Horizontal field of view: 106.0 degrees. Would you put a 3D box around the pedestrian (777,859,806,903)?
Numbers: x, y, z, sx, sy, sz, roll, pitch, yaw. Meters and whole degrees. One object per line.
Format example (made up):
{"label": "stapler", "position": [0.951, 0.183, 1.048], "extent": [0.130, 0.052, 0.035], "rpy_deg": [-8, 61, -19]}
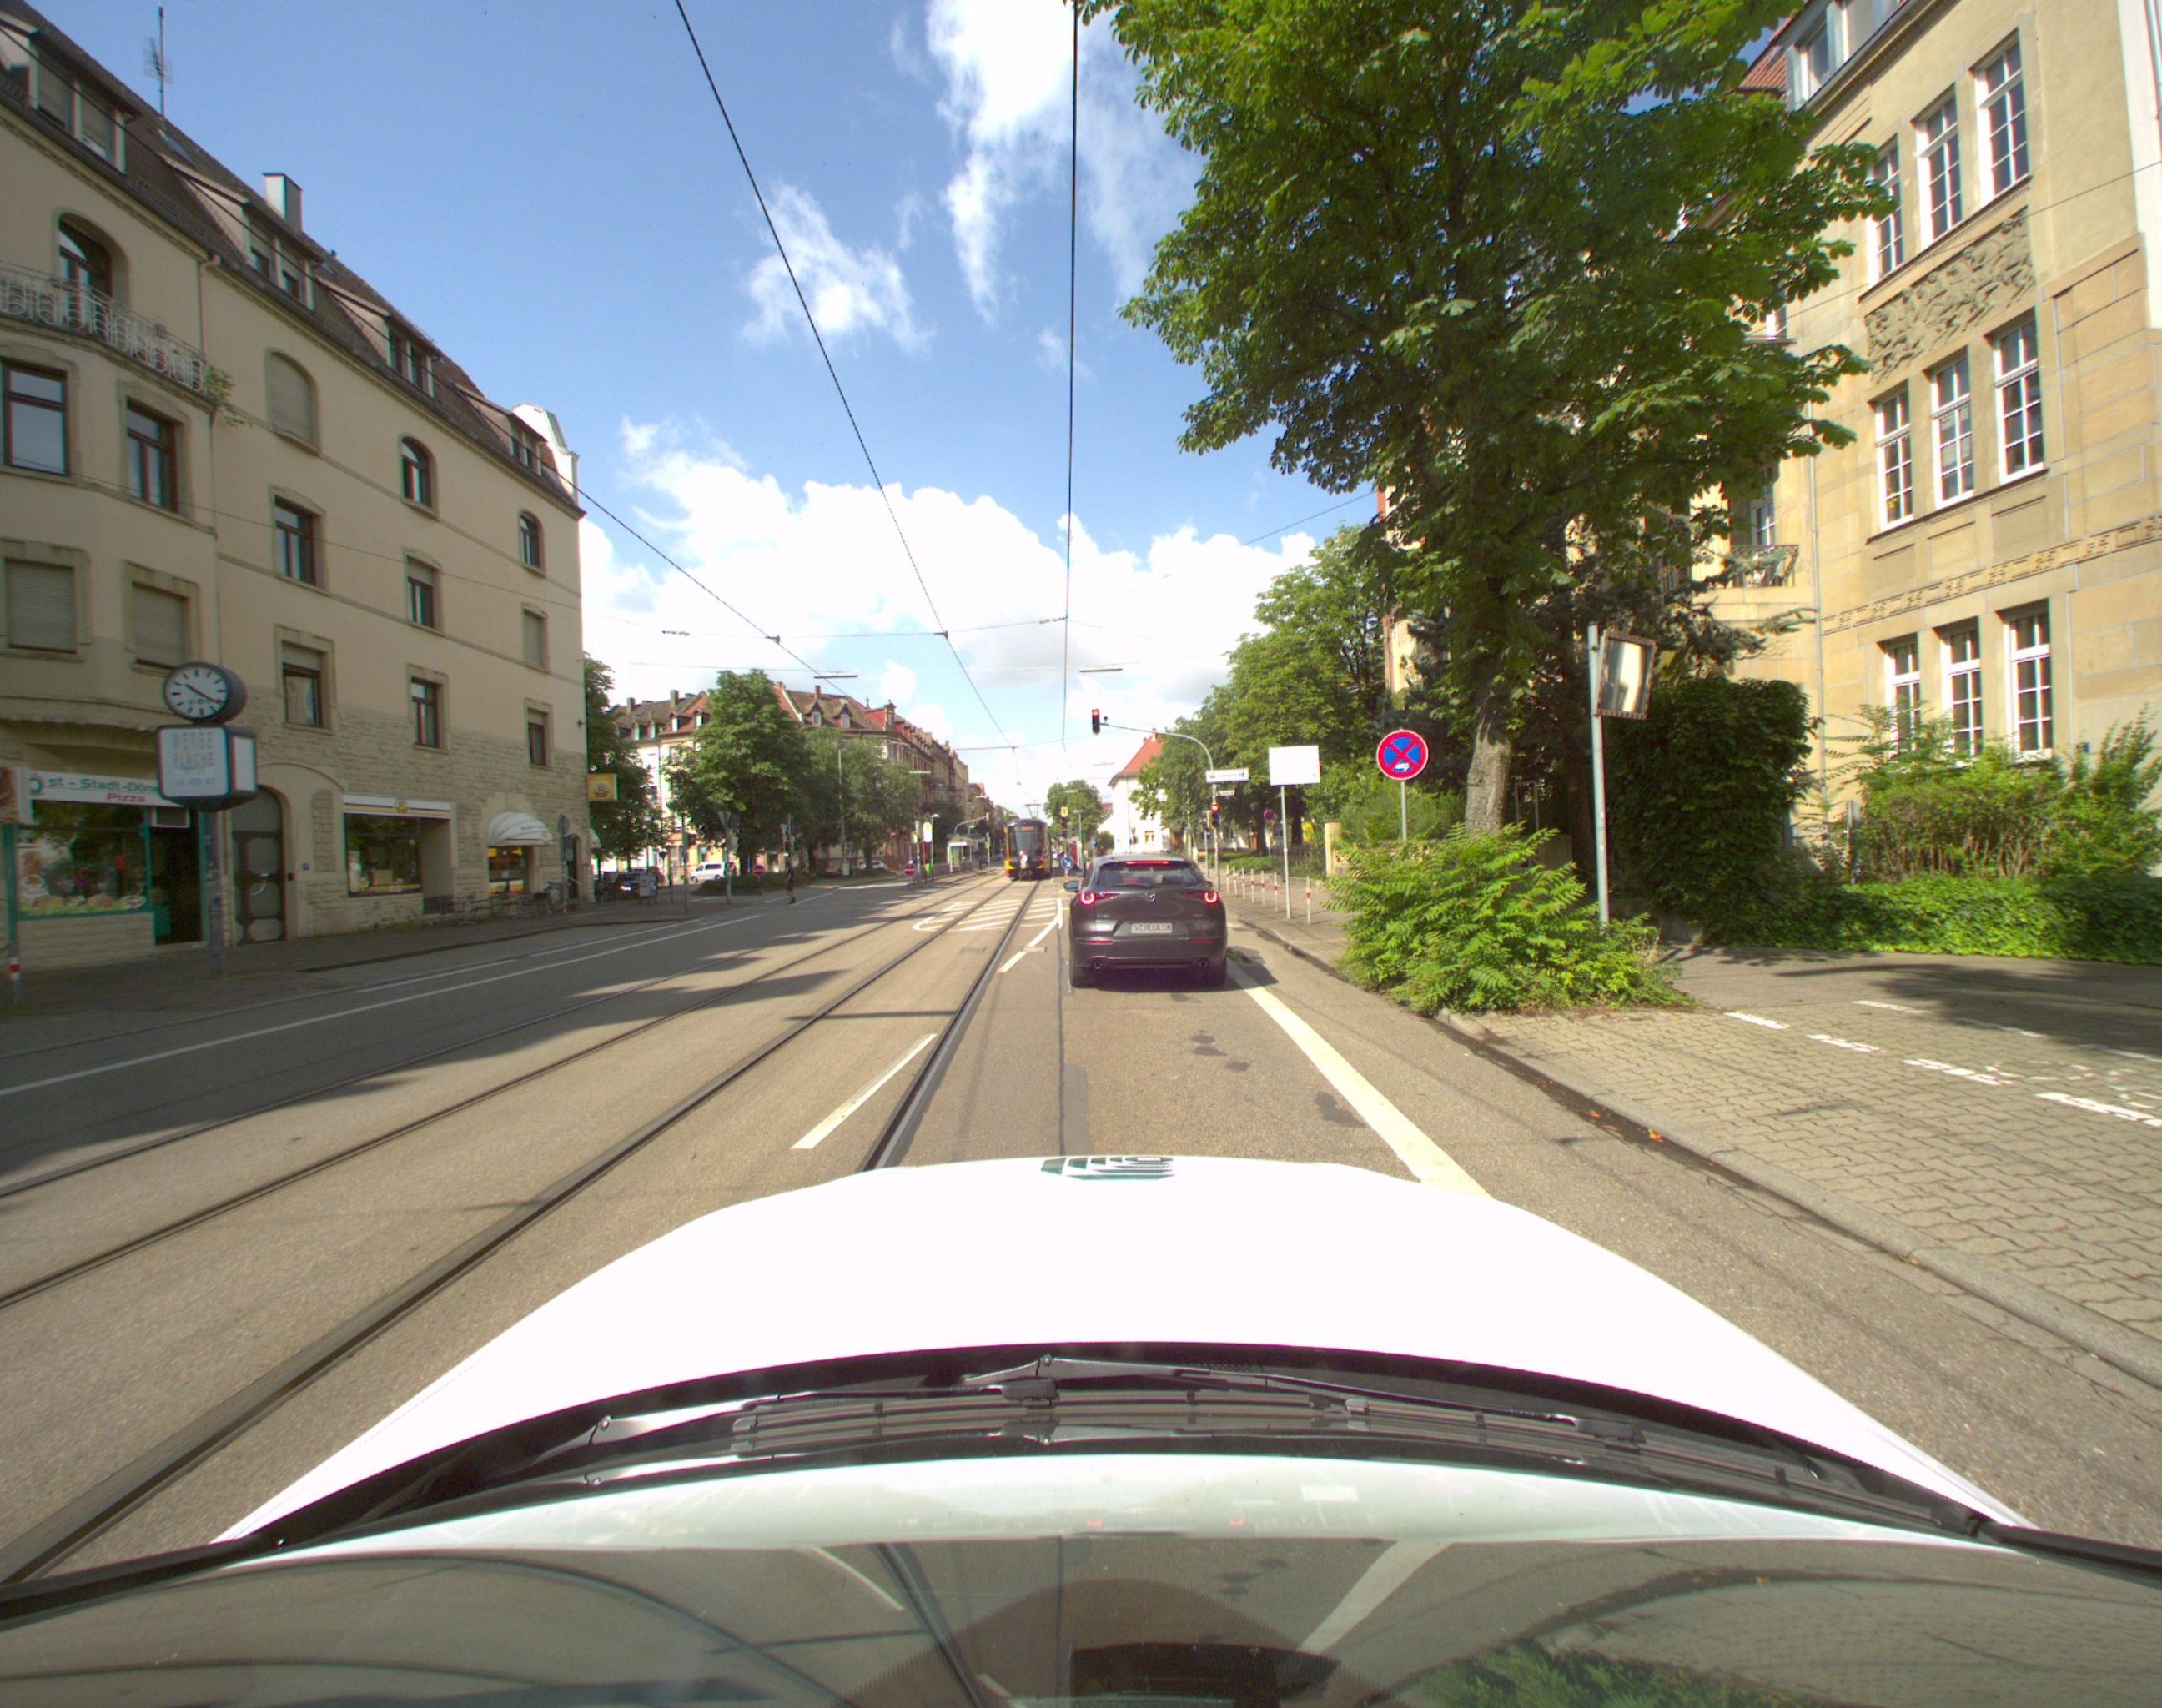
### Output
{"label": "pedestrian", "position": [-11.574, 1.065, 32.555], "extent": [0.746, 1.684, 0.702], "rpy_deg": [-2, 0, 11]}

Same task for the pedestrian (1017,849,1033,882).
{"label": "pedestrian", "position": [-2.984, 0.615, 43.415], "extent": [0.714, 1.705, 0.824], "rpy_deg": [-2, 0, -1]}

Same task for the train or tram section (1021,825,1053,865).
{"label": "train or tram section", "position": [-4.256, -0.960, 80.683], "extent": [2.746, 3.490, 14.397], "rpy_deg": [-2, 1, -2]}

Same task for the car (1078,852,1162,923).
{"label": "car", "position": [0.889, 0.708, 19.266], "extent": [1.772, 1.499, 4.001], "rpy_deg": [0, 0, 1]}

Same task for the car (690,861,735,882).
{"label": "car", "position": [-36.735, 1.731, 81.213], "extent": [3.950, 1.903, 2.012], "rpy_deg": [-2, 0, 26]}

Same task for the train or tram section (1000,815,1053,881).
{"label": "train or tram section", "position": [-3.232, -0.444, 51.867], "extent": [2.746, 3.490, 14.397], "rpy_deg": [-2, 1, -2]}

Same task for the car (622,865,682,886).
{"label": "car", "position": [-36.640, 1.836, 69.648], "extent": [3.971, 1.596, 2.001], "rpy_deg": [-2, 0, 2]}

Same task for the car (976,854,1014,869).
{"label": "car", "position": [-9.335, 0.795, 88.349], "extent": [3.991, 1.498, 1.671], "rpy_deg": [-2, 0, -13]}

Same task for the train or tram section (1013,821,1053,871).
{"label": "train or tram section", "position": [-3.760, -0.711, 66.268], "extent": [2.746, 3.490, 14.397], "rpy_deg": [-2, 1, -2]}

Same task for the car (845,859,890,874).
{"label": "car", "position": [-21.348, 1.233, 81.288], "extent": [4.013, 1.360, 1.662], "rpy_deg": [-2, 0, -30]}

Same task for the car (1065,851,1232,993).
{"label": "car", "position": [0.772, 0.717, 10.655], "extent": [1.772, 1.499, 4.001], "rpy_deg": [0, 0, 1]}

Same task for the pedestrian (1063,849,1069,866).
{"label": "pedestrian", "position": [-1.303, 0.312, 69.161], "extent": [0.449, 1.434, 0.474], "rpy_deg": [-2, 0, -3]}

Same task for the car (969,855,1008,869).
{"label": "car", "position": [-10.415, 0.909, 91.375], "extent": [4.011, 1.360, 1.663], "rpy_deg": [-2, 0, -29]}

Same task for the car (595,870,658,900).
{"label": "car", "position": [-25.412, 1.746, 45.515], "extent": [4.016, 1.518, 1.772], "rpy_deg": [-2, 0, 41]}
